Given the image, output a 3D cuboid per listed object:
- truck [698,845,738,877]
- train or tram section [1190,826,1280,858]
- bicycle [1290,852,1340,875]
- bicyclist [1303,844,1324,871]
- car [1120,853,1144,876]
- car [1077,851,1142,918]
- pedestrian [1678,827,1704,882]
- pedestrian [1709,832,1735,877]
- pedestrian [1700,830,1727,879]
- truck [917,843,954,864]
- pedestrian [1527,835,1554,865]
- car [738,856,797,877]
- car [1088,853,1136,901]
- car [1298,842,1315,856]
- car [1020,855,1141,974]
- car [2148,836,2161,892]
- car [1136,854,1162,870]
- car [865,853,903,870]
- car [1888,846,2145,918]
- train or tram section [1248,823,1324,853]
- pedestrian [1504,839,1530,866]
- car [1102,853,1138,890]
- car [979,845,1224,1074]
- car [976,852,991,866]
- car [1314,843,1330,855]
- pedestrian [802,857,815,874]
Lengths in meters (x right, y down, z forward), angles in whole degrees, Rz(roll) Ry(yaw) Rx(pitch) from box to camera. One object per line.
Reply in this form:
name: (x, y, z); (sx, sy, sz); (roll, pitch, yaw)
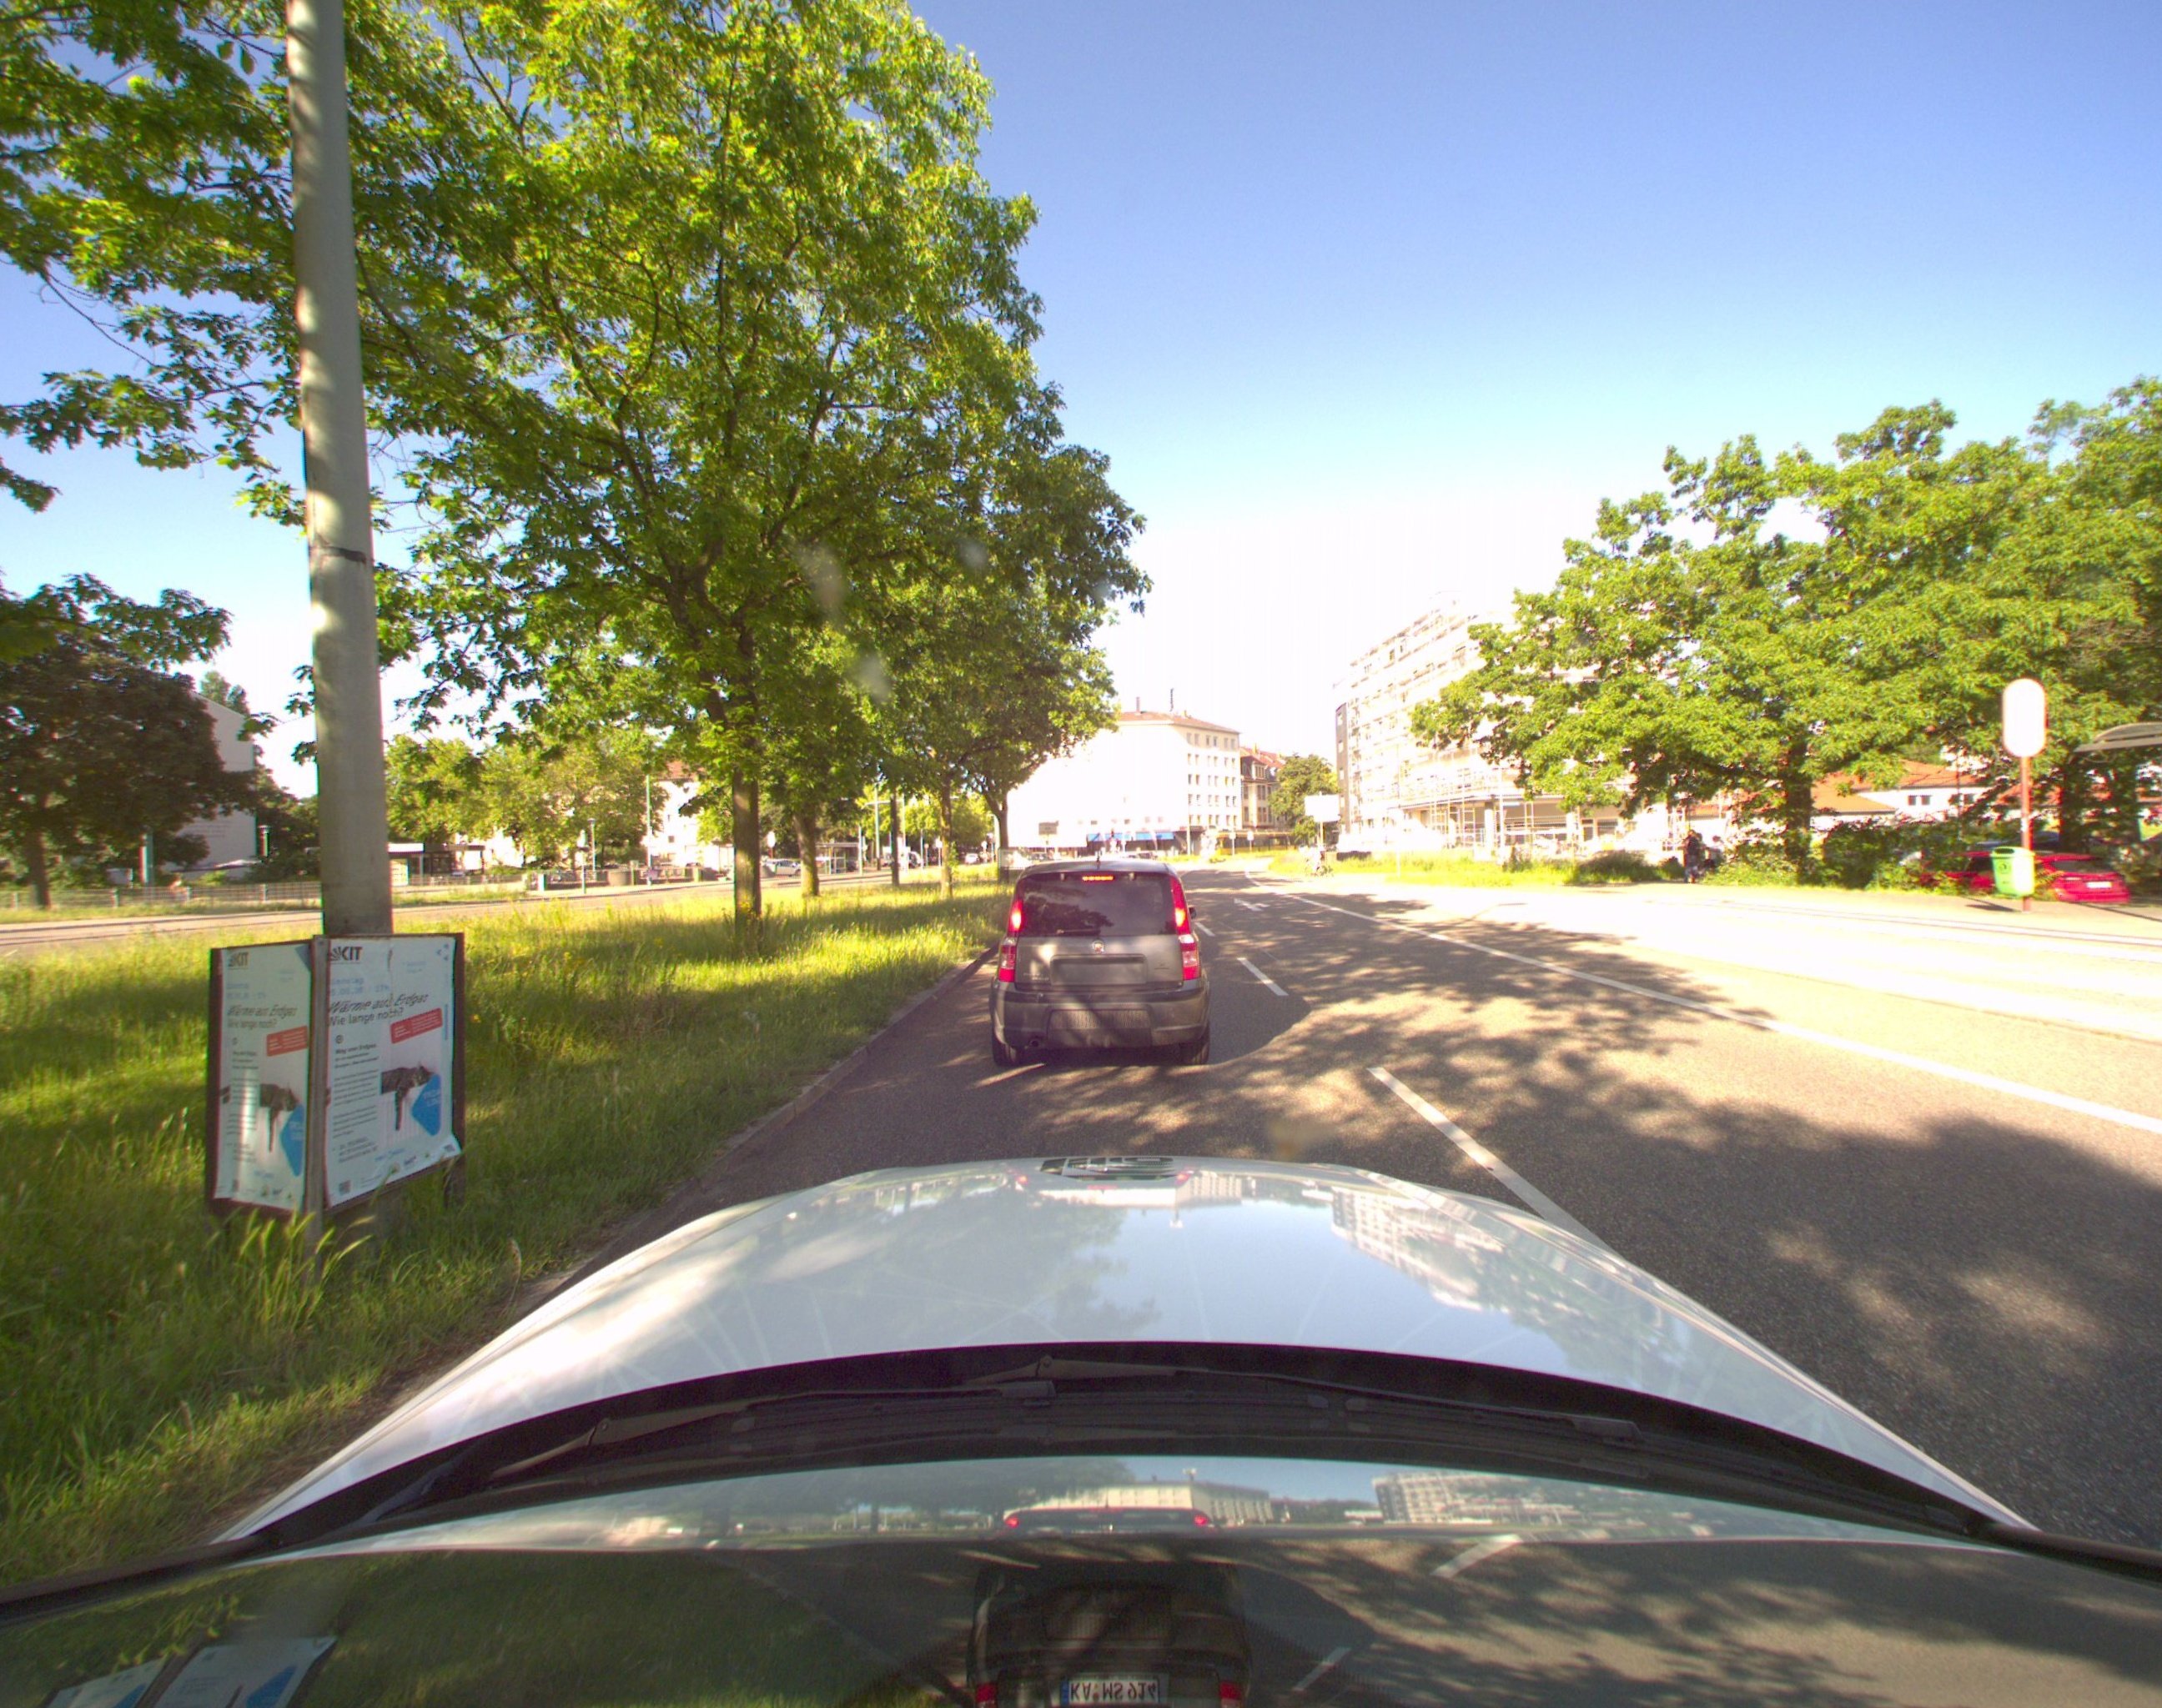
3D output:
truck: (-33.075, 0.633, 74.210); (2.012, 2.805, 3.951); (-2, 0, -44)
train or tram section: (19.310, -1.580, 100.068); (3.263, 3.513, 19.509); (-2, 0, 34)
bicycle: (12.556, 0.513, 43.716); (2.488, 1.198, 0.715); (-1, -1, 40)
bicyclist: (12.482, 0.173, 43.771); (0.834, 1.438, 0.748); (-1, -1, 40)
car: (3.095, 0.621, 49.682); (1.351, 1.281, 2.877); (-2, 0, 2)
car: (0.723, 0.698, 20.799); (1.458, 1.508, 3.506); (-2, 0, 2)
pedestrian: (18.502, 0.014, 24.720); (0.516, 1.612, 0.595); (-2, 0, 28)
pedestrian: (20.895, 0.014, 26.551); (0.516, 1.447, 0.595); (-2, 0, 28)
pedestrian: (19.199, 0.007, 24.720); (0.516, 1.447, 0.595); (-2, 0, 28)
truck: (-23.004, -0.140, 128.577); (5.425, 3.168, 2.358); (-2, 0, 30)
pedestrian: (25.839, -0.211, 45.791); (0.887, 1.653, 0.985); (-2, 0, -6)
car: (-27.318, 1.070, 71.073); (1.974, 1.684, 4.348); (-2, 0, 40)
car: (1.027, 0.727, 27.402); (1.458, 1.424, 3.383); (-2, 0, 2)
car: (24.916, -0.538, 90.000); (1.669, 1.449, 3.588); (-2, 0, 18)
car: (0.046, 0.748, 11.767); (1.458, 1.401, 3.395); (-2, 0, 2)
car: (29.859, 0.234, 20.181); (1.911, 1.486, 3.725); (-2, 0, -17)
car: (4.865, 0.575, 57.721); (1.133, 1.064, 2.735); (-2, 0, 19)
car: (-23.943, 0.893, 99.036); (4.164, 2.013, 1.931); (-2, 0, -1)
car: (21.984, 0.598, 19.378); (1.747, 1.486, 3.743); (-2, 0, -2)
train or tram section: (29.161, -2.338, 114.577); (3.263, 3.770, 20.944); (-2, 0, 34)
pedestrian: (24.701, -0.080, 46.130); (0.892, 1.447, 0.963); (-2, 0, -10)
car: (1.600, 0.693, 33.972); (1.351, 1.449, 3.267); (-2, 0, 2)
car: (0.201, 0.703, 7.540); (1.622, 1.508, 4.002); (-2, 0, 2)
car: (-14.838, 0.733, 124.166); (1.988, 2.013, 3.997); (-2, 0, -2)
car: (27.627, -0.589, 93.430); (1.514, 1.314, 3.304); (-2, 0, 20)
pedestrian: (-26.255, 1.100, 78.466); (0.910, 1.607, 0.802); (-2, 0, 41)
